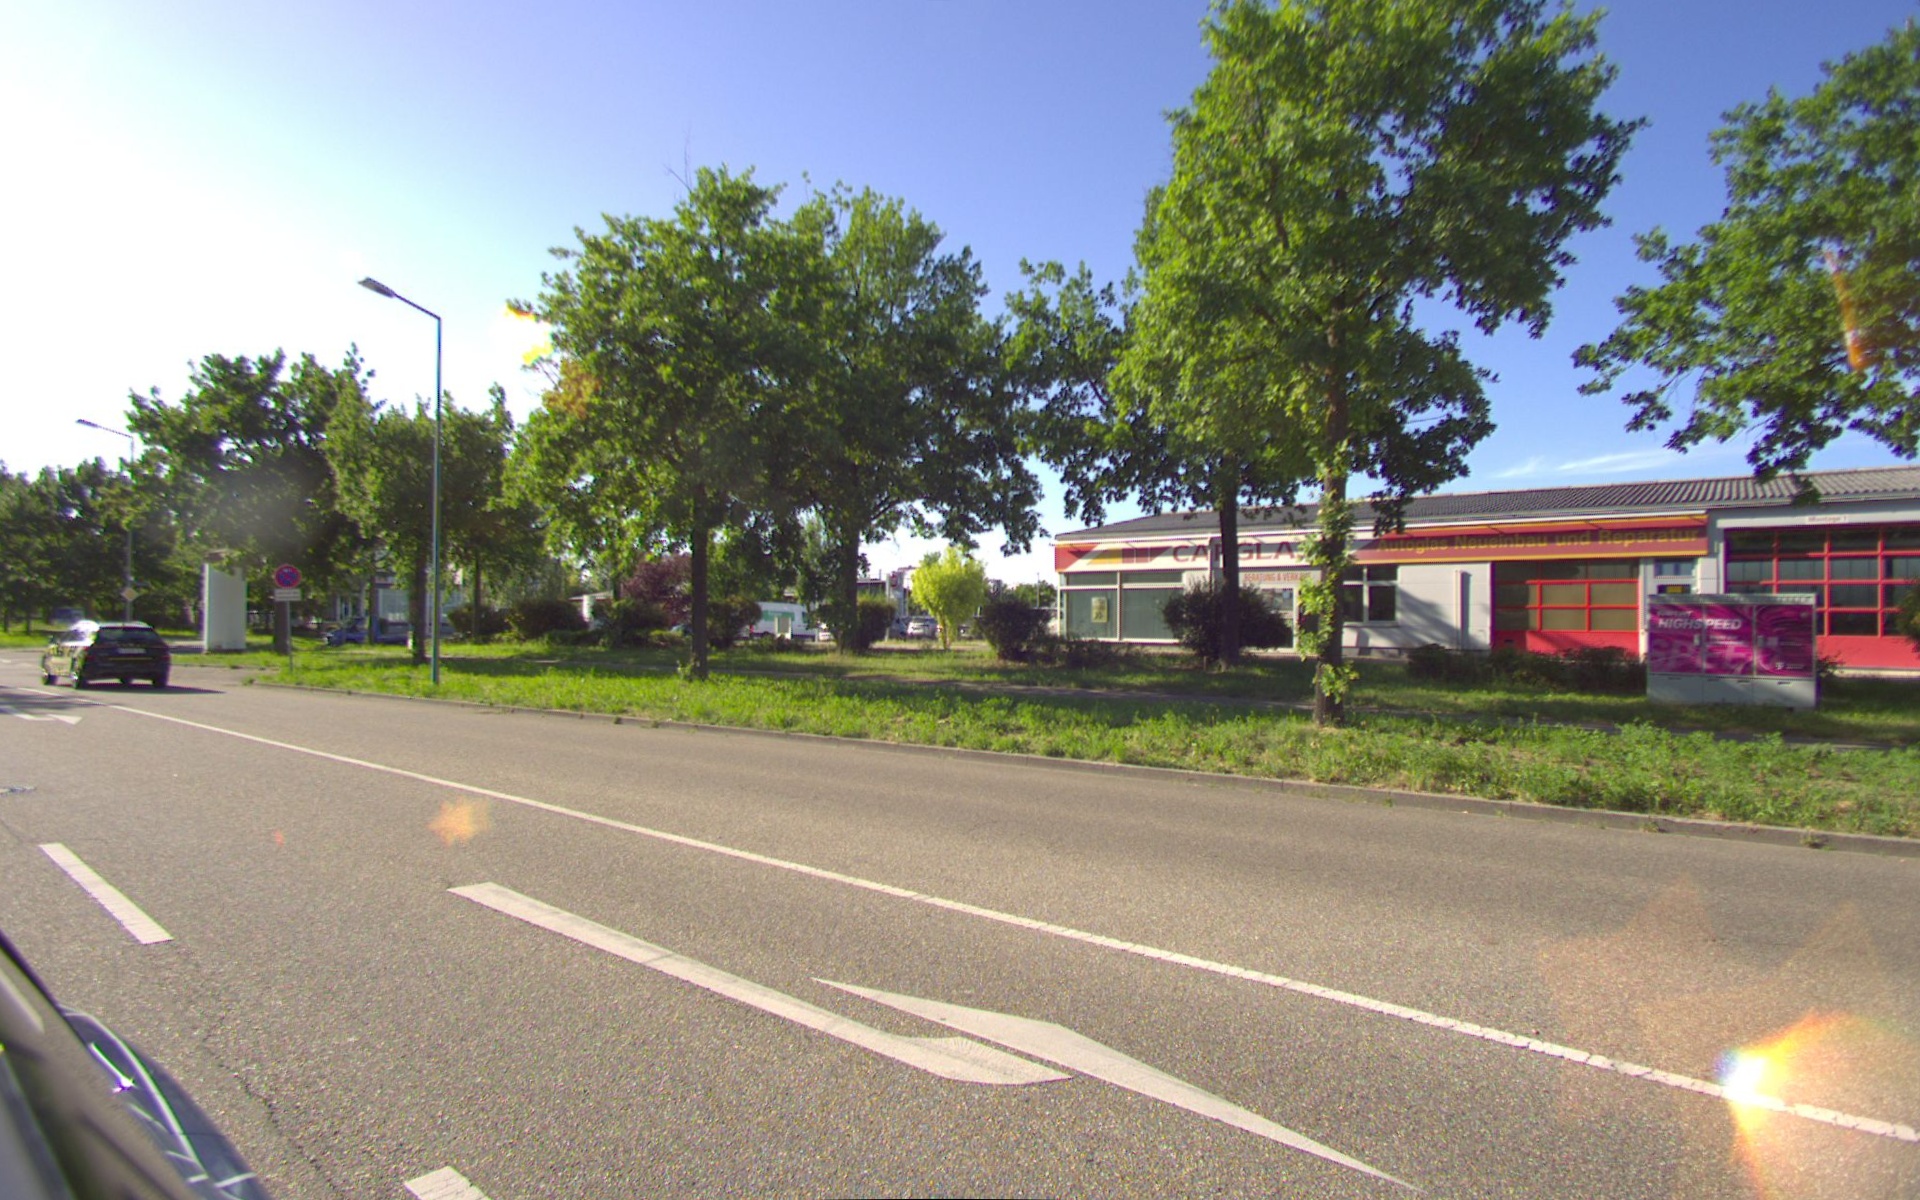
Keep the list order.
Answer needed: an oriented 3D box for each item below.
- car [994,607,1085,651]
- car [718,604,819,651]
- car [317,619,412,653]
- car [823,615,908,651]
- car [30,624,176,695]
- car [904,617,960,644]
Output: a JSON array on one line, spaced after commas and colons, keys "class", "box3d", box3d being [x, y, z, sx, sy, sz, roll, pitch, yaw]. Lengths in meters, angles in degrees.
[{"class": "car", "box3d": [3.216, 1.147, 40.601, 1.734, 1.583, 3.769, -3, -1, 40]}, {"class": "car", "box3d": [-11.450, 1.589, 60.996, 2.406, 2.574, 5.952, -1, 0, 36]}, {"class": "car", "box3d": [-35.969, 2.150, 61.229, 1.999, 1.847, 4.578, -1, 0, 41]}, {"class": "car", "box3d": [-5.143, 1.758, 55.785, 1.989, 1.795, 4.583, -1, 0, 40]}, {"class": "car", "box3d": [-20.506, 1.368, 24.184, 4.073, 1.537, 1.746, -1, -3, 37]}, {"class": "car", "box3d": [-1.870, 2.040, 68.619, 1.761, 1.684, 3.811, -1, 0, 40]}]
